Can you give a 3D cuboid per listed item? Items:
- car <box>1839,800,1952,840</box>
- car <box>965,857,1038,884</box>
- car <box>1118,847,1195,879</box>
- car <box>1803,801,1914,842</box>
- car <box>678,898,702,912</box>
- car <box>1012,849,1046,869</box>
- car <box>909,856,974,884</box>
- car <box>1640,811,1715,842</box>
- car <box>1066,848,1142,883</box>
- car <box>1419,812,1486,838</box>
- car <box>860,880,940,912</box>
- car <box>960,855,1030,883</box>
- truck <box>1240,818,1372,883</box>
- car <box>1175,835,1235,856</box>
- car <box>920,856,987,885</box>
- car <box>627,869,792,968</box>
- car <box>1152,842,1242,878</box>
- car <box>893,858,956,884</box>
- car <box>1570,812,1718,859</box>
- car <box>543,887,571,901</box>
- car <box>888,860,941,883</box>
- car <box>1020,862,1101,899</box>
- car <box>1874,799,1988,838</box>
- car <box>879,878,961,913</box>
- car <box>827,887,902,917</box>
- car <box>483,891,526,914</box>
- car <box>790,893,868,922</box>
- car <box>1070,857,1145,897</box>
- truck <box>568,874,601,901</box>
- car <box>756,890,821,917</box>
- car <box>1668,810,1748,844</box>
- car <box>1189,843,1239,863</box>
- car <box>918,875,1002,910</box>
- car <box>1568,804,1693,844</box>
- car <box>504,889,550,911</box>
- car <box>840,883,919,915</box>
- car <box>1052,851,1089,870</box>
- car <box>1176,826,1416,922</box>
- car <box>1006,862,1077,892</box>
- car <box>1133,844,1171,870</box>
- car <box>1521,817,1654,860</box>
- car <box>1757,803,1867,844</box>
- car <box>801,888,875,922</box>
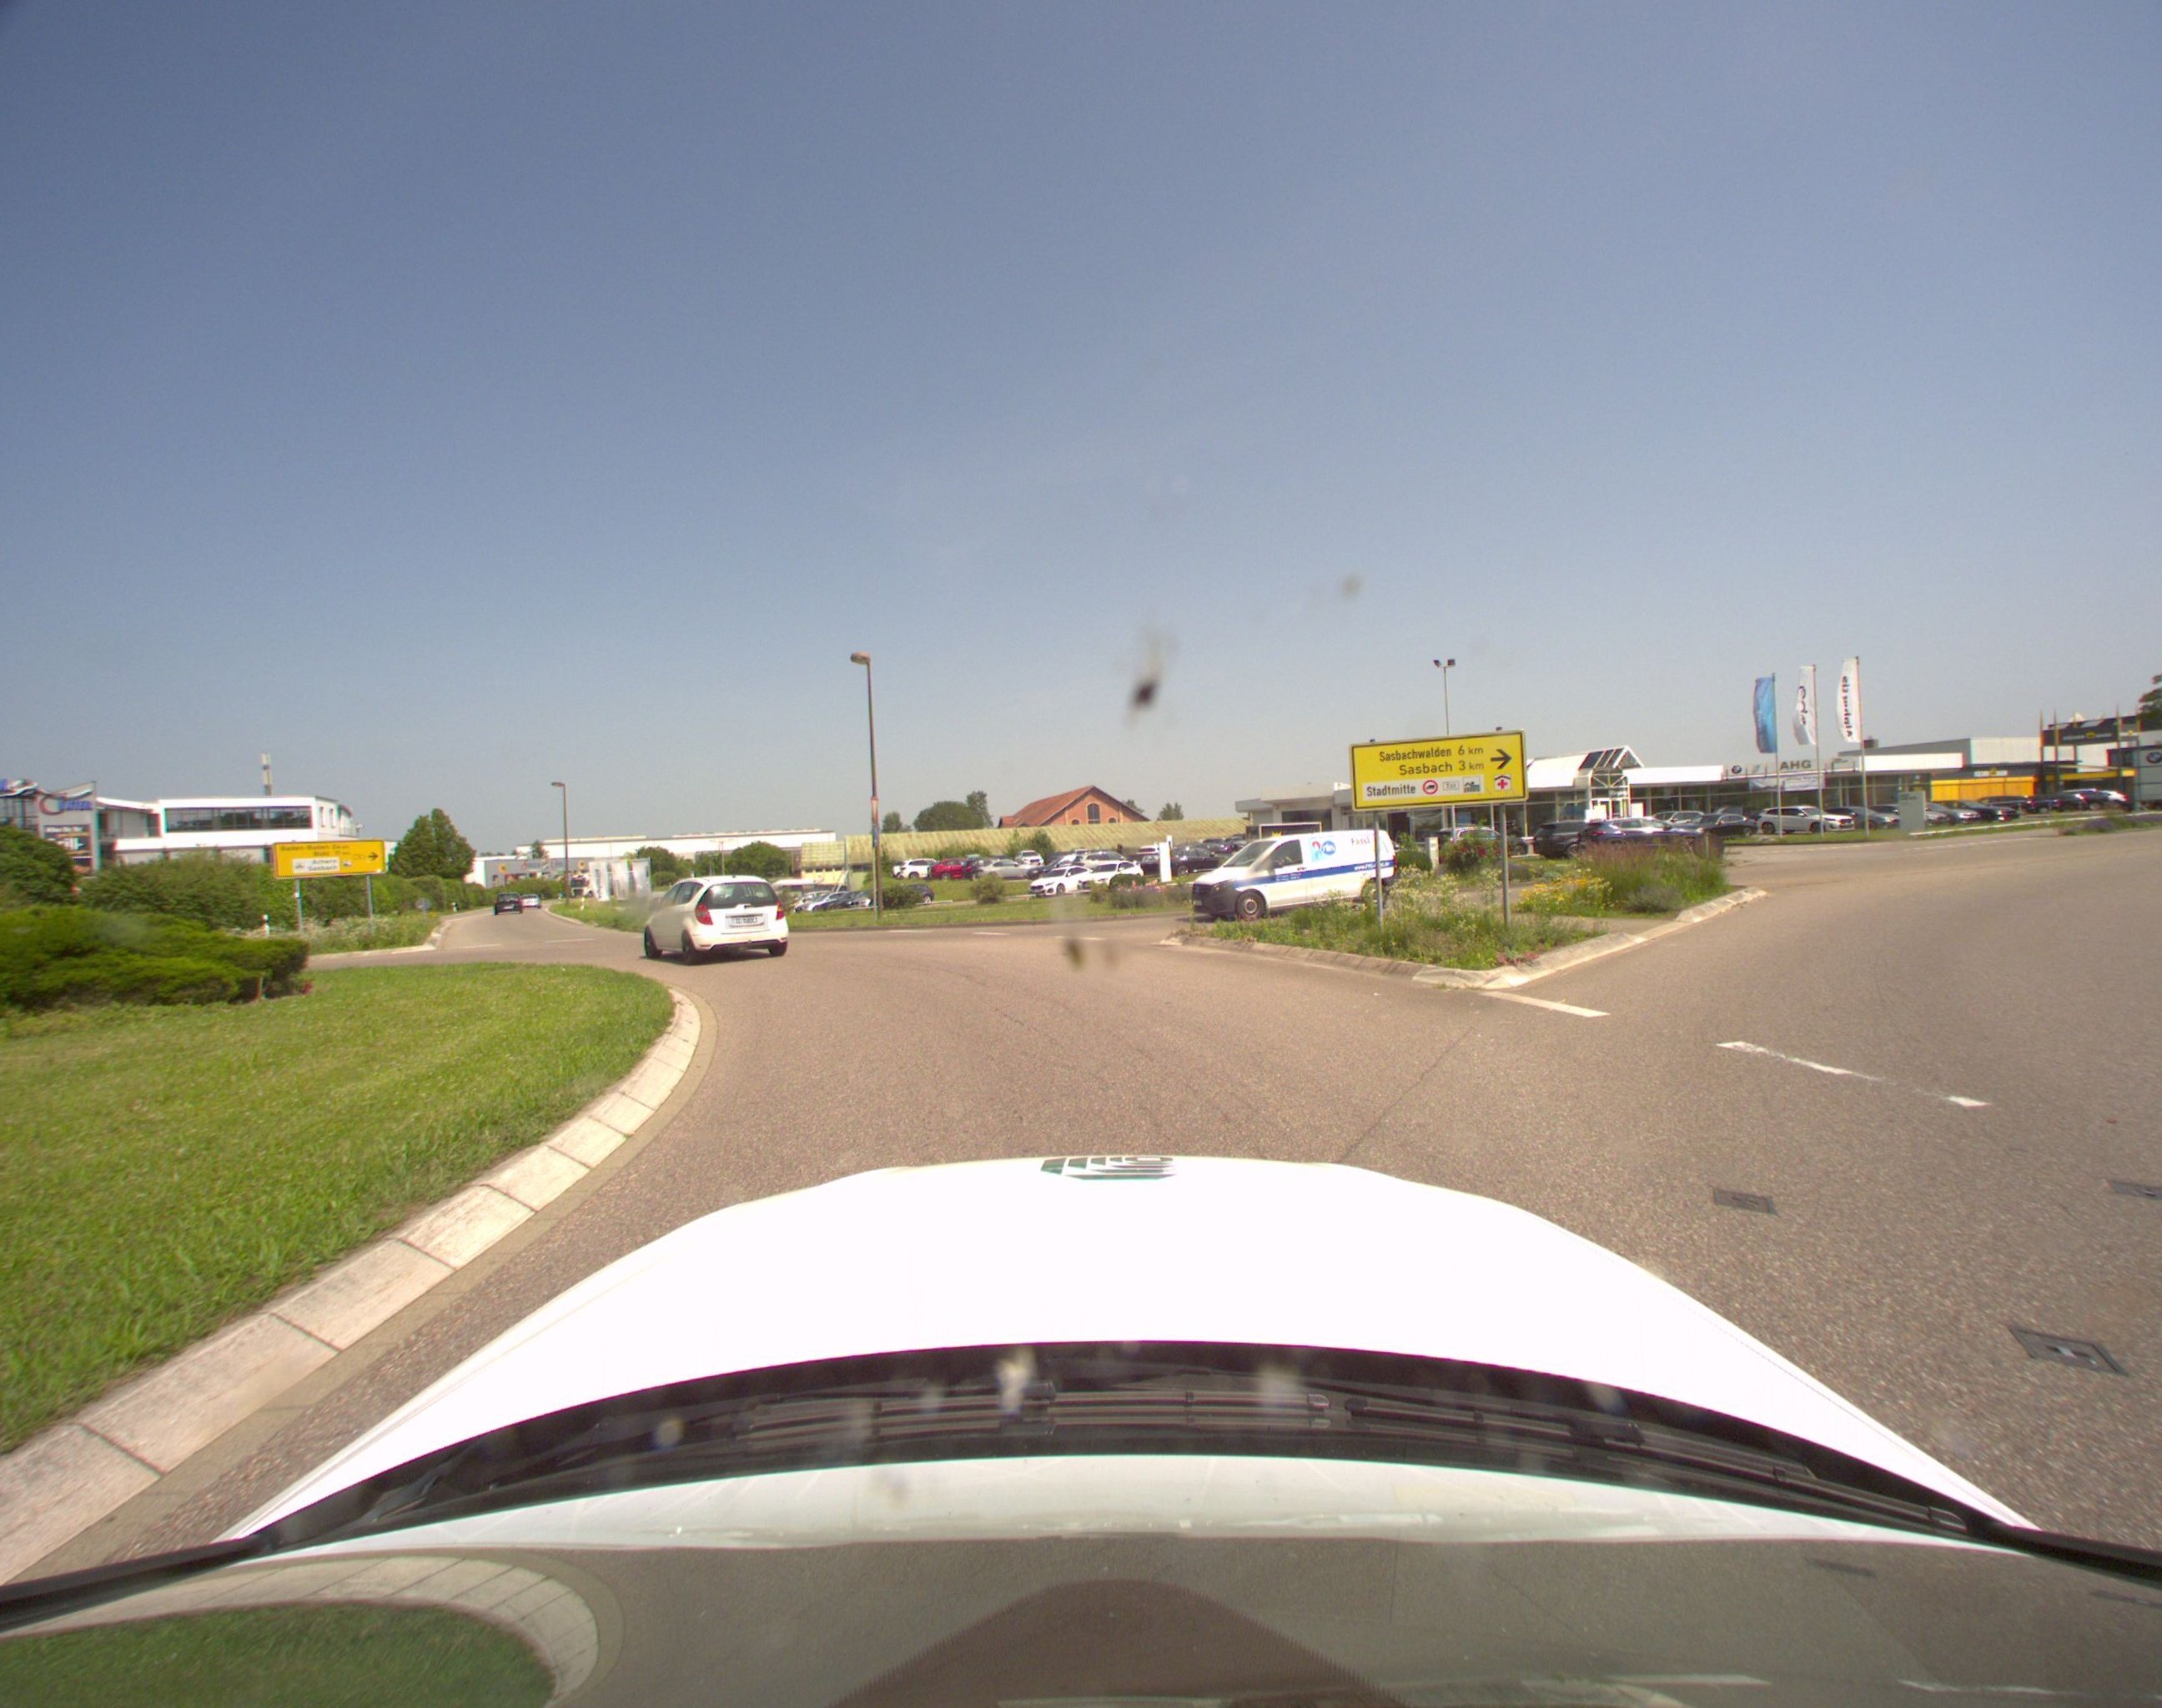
[{"bbox_3d":[48.384,-1.985,48.494,1.998,2.014,4.237,-2,-2,-16],"label":"car"},{"bbox_3d":[-5.391,1.085,55.108,4.469,1.500,1.936,-4,0,-20],"label":"car"},{"bbox_3d":[4.412,0.526,47.840,4.010,1.499,1.936,-5,2,-20],"label":"car"},{"bbox_3d":[45.484,-1.875,47.757,1.998,2.014,4.237,-2,-2,-16],"label":"car"},{"bbox_3d":[-46.706,6.091,97.373,2.142,1.457,4.501,-2,-2,-20],"label":"car"},{"bbox_3d":[-4.592,0.498,71.666,1.922,1.596,4.278,-4,0,-18],"label":"car"},{"bbox_3d":[-10.523,1.187,61.283,4.469,1.747,1.826,-4,0,-20],"label":"car"},{"bbox_3d":[34.979,-1.605,47.768,3.695,1.654,1.572,-2,-2,-17],"label":"car"},{"bbox_3d":[1.383,0.660,49.068,4.010,1.750,1.936,-5,1,-20],"label":"car"},{"bbox_3d":[26.712,-2.058,58.578,4.035,1.586,1.900,-4,0,-15],"label":"car"},{"bbox_3d":[-11.043,2.555,49.746,4.284,1.412,1.900,-6,-2,-39],"label":"car"},{"bbox_3d":[-6.052,1.030,57.173,4.469,1.634,1.936,-4,0,-20],"label":"car"},{"bbox_3d":[10.545,-0.185,38.216,5.618,2.664,1.940,-4,0,-15],"label":"truck"},{"bbox_3d":[10.372,-0.709,68.266,4.462,1.522,1.939,-4,0,-16],"label":"car"},{"bbox_3d":[-9.269,1.174,59.203,4.469,1.747,1.936,-4,0,-20],"label":"car"},{"bbox_3d":[-7.313,1.170,15.844,1.797,1.603,3.846,-2,-1,-42],"label":"car"},{"bbox_3d":[6.409,0.355,45.081,4.428,1.499,1.936,-6,0,-20],"label":"car"},{"bbox_3d":[-12.205,1.308,63.424,4.469,1.747,1.826,-4,0,-20],"label":"car"},{"bbox_3d":[22.071,-0.715,32.099,4.332,1.512,1.916,-3,0,12],"label":"car"},{"bbox_3d":[-77.864,5.906,120.981,1.993,2.014,3.986,-2,-2,-10],"label":"car"},{"bbox_3d":[-13.407,1.418,65.455,3.889,1.532,1.756,-4,0,-20],"label":"car"},{"bbox_3d":[-1.032,1.379,43.298,1.745,1.570,4.608,-5,0,36],"label":"car"},{"bbox_3d":[51.384,-2.096,49.349,1.998,2.014,4.237,-2,-2,-16],"label":"car"},{"bbox_3d":[-9.319,2.390,47.440,1.898,1.482,4.289,-8,-2,42],"label":"car"},{"bbox_3d":[-14.301,3.177,53.914,4.284,1.465,1.852,-5,-2,-39],"label":"car"},{"bbox_3d":[-40.285,3.345,56.992,1.839,1.470,4.369,-2,-2,-28],"label":"car"},{"bbox_3d":[-17.818,3.761,57.725,4.807,1.508,1.976,-5,-2,-39],"label":"car"},{"bbox_3d":[1.459,1.131,42.163,1.745,1.570,4.696,-4,2,31],"label":"car"},{"bbox_3d":[-83.014,5.584,136.190,2.515,4.257,6.088,-4,-1,-12],"label":"truck"},{"bbox_3d":[-21.745,3.662,60.650,4.023,1.552,1.975,-3,-3,-43],"label":"car"},{"bbox_3d":[34.406,-1.494,44.680,3.695,1.654,1.572,-2,-2,-17],"label":"car"},{"bbox_3d":[10.088,-0.055,61.983,3.301,1.275,1.668,-3,0,45],"label":"car"},{"bbox_3d":[-6.679,2.128,45.494,1.760,1.421,4.603,-7,-1,37],"label":"car"},{"bbox_3d":[25.273,-1.366,37.614,4.332,1.512,1.916,-3,0,12],"label":"car"},{"bbox_3d":[-56.085,4.611,82.518,1.989,2.014,3.995,-2,-2,-3],"label":"car"},{"bbox_3d":[-12.802,2.848,51.949,1.898,1.465,4.463,-8,-2,43],"label":"car"},{"bbox_3d":[-0.985,0.609,73.303,2.194,1.596,4.278,-4,0,-18],"label":"car"},{"bbox_3d":[5.057,0.448,19.294,5.221,1.938,1.851,-2,-2,-15],"label":"car"},{"bbox_3d":[-2.462,1.369,50.116,4.002,1.526,1.940,-4,0,-14],"label":"car"},{"bbox_3d":[5.144,0.190,58.361,1.639,1.586,4.289,-3,0,19],"label":"car"},{"bbox_3d":[21.390,-0.639,34.560,4.332,1.512,1.916,-3,0,12],"label":"car"},{"bbox_3d":[42.200,-1.744,47.128,1.998,2.014,4.237,-2,-2,-16],"label":"car"},{"bbox_3d":[-16.525,3.468,55.565,4.284,1.748,1.976,-5,-2,-39],"label":"car"}]
